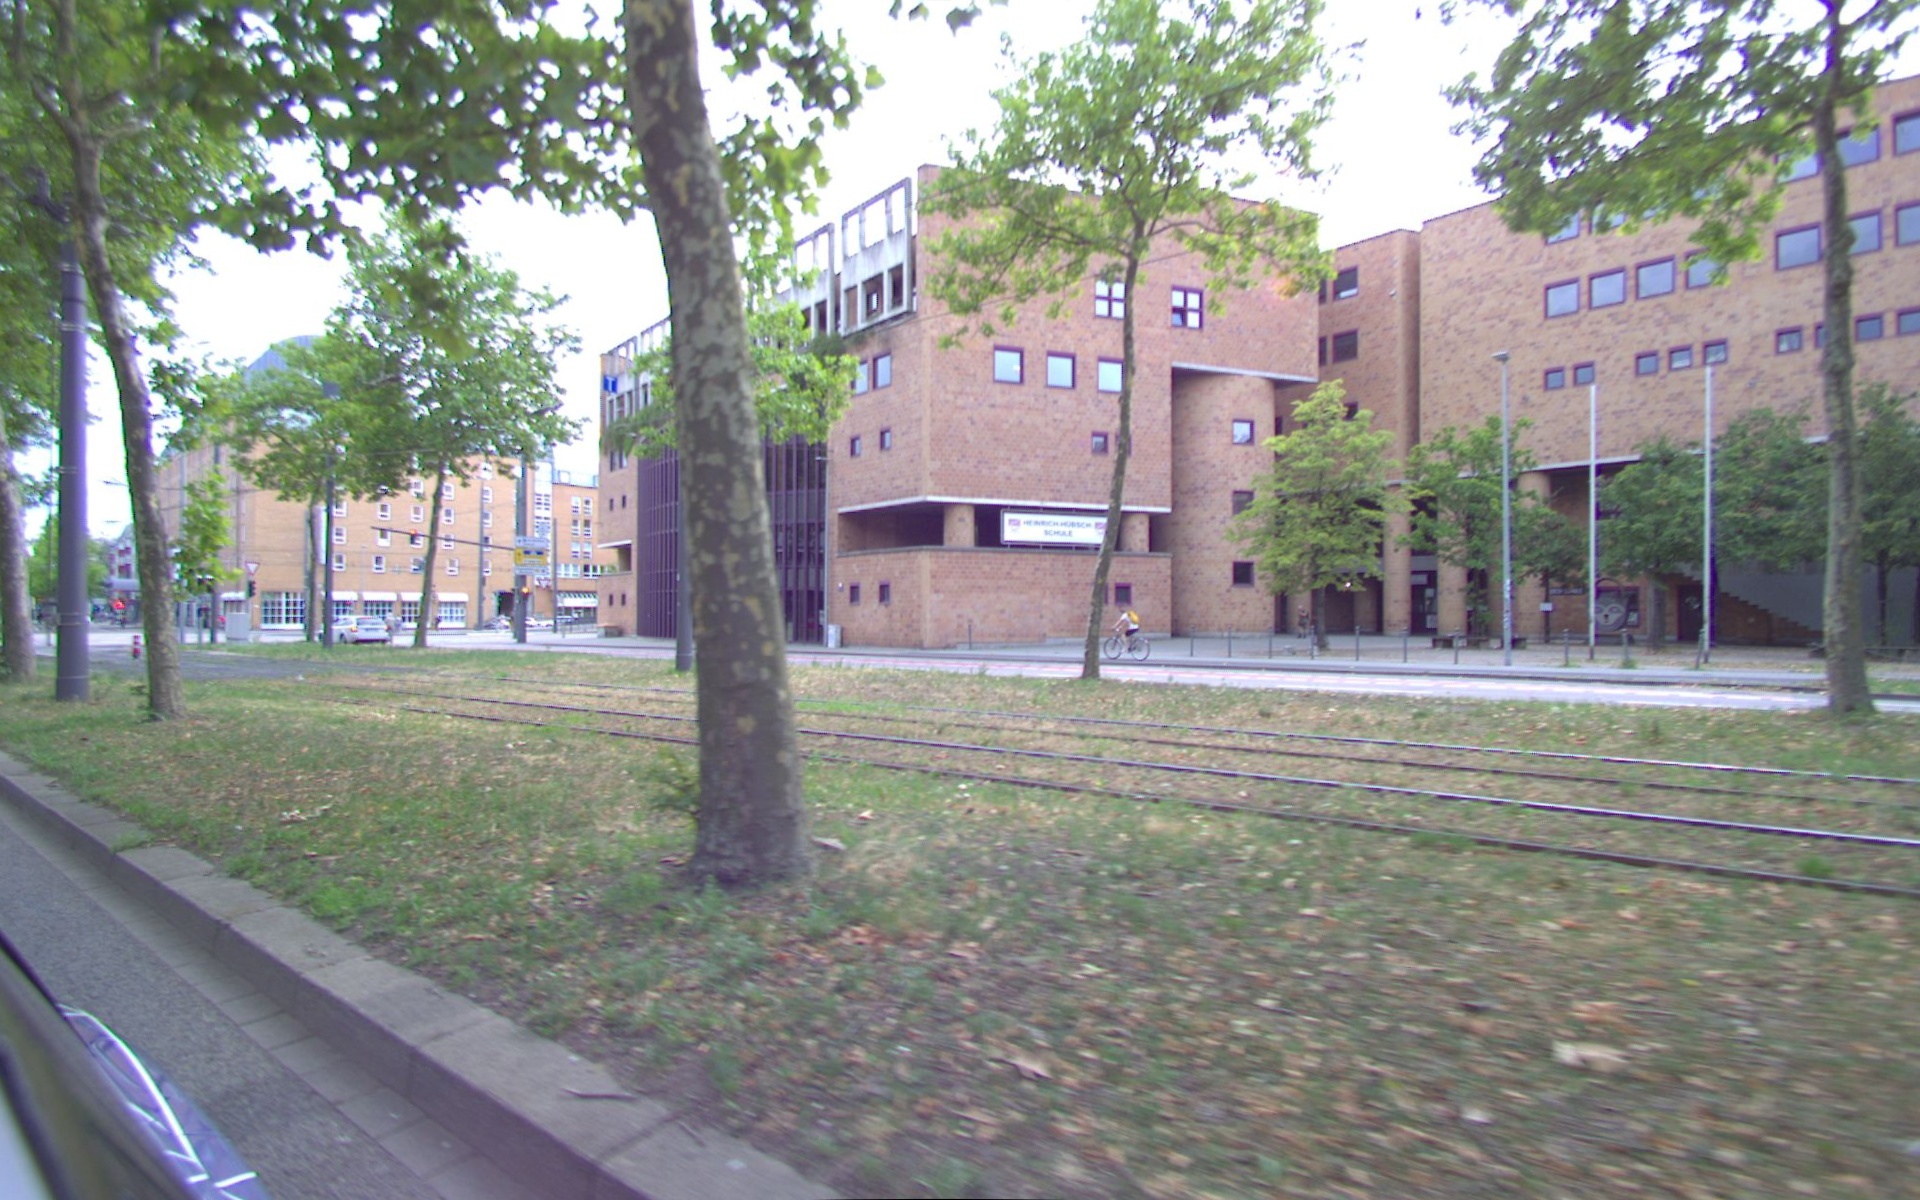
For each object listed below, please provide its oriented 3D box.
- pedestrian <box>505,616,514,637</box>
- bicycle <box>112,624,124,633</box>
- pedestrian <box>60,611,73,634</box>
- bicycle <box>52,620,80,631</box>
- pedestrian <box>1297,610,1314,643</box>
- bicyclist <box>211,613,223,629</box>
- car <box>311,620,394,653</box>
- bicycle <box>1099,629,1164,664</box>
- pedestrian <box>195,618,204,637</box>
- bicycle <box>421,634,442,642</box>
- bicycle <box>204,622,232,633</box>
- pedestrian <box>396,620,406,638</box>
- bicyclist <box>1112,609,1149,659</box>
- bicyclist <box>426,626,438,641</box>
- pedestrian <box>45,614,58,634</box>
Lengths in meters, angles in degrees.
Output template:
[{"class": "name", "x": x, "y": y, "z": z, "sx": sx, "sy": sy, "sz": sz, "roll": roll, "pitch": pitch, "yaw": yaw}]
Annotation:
[{"class": "pedestrian", "x": -37.985, "y": 2.256, "z": 85.339, "sx": 0.542, "sy": 1.745, "sz": 0.533, "roll": -1, "pitch": -2, "yaw": 38}, {"class": "bicycle", "x": -95.308, "y": 3.248, "z": 114.552, "sx": 1.889, "sy": 0.943, "sz": 0.651, "roll": 0, "pitch": -1, "yaw": 36}, {"class": "pedestrian", "x": -76.499, "y": 1.946, "z": 86.655, "sx": 0.534, "sy": 1.966, "sz": 0.685, "roll": 0, "pitch": -1, "yaw": 38}, {"class": "bicycle", "x": -76.734, "y": 2.164, "z": 86.870, "sx": 0.499, "sy": 0.895, "sz": 1.688, "roll": 0, "pitch": -1, "yaw": 43}, {"class": "pedestrian", "x": 16.329, "y": 1.240, "z": 47.834, "sx": 0.500, "sy": 1.543, "sz": 0.521, "roll": 1, "pitch": -2, "yaw": -35}, {"class": "bicyclist", "x": -68.862, "y": 1.956, "z": 93.786, "sx": 0.852, "sy": 1.512, "sz": 0.637, "roll": 1, "pitch": -1, "yaw": -39}, {"class": "car", "x": -27.827, "y": 1.628, "z": 46.309, "sx": 4.653, "sy": 1.432, "sz": 1.766, "roll": -1, "pitch": -2, "yaw": 39}, {"class": "bicycle", "x": 5.614, "y": 1.517, "z": 33.276, "sx": 2.093, "sy": 1.092, "sz": 0.661, "roll": -2, "pitch": -2, "yaw": 43}, {"class": "pedestrian", "x": -70.581, "y": 2.566, "z": 93.966, "sx": 0.534, "sy": 1.719, "sz": 0.556, "roll": 0, "pitch": -1, "yaw": 40}, {"class": "bicycle", "x": -53.702, "y": 3.853, "z": 102.921, "sx": 0.639, "sy": 0.787, "sz": 1.774, "roll": 0, "pitch": -1, "yaw": 37}, {"class": "bicycle", "x": -68.798, "y": 2.510, "z": 93.831, "sx": 2.027, "sy": 1.016, "sz": 0.641, "roll": 1, "pitch": -1, "yaw": -39}, {"class": "pedestrian", "x": -55.691, "y": 2.911, "z": 100.778, "sx": 0.749, "sy": 1.745, "sz": 0.572, "roll": 0, "pitch": -1, "yaw": 33}, {"class": "bicyclist", "x": 5.609, "y": 1.112, "z": 33.288, "sx": 0.984, "sy": 1.603, "sz": 0.657, "roll": -2, "pitch": -2, "yaw": 43}, {"class": "bicyclist", "x": -53.715, "y": 3.424, "z": 102.925, "sx": 0.635, "sy": 1.512, "sz": 0.855, "roll": 0, "pitch": -1, "yaw": 38}, {"class": "pedestrian", "x": -78.760, "y": 2.120, "z": 87.721, "sx": 0.533, "sy": 1.719, "sz": 0.677, "roll": 0, "pitch": -1, "yaw": 31}]
